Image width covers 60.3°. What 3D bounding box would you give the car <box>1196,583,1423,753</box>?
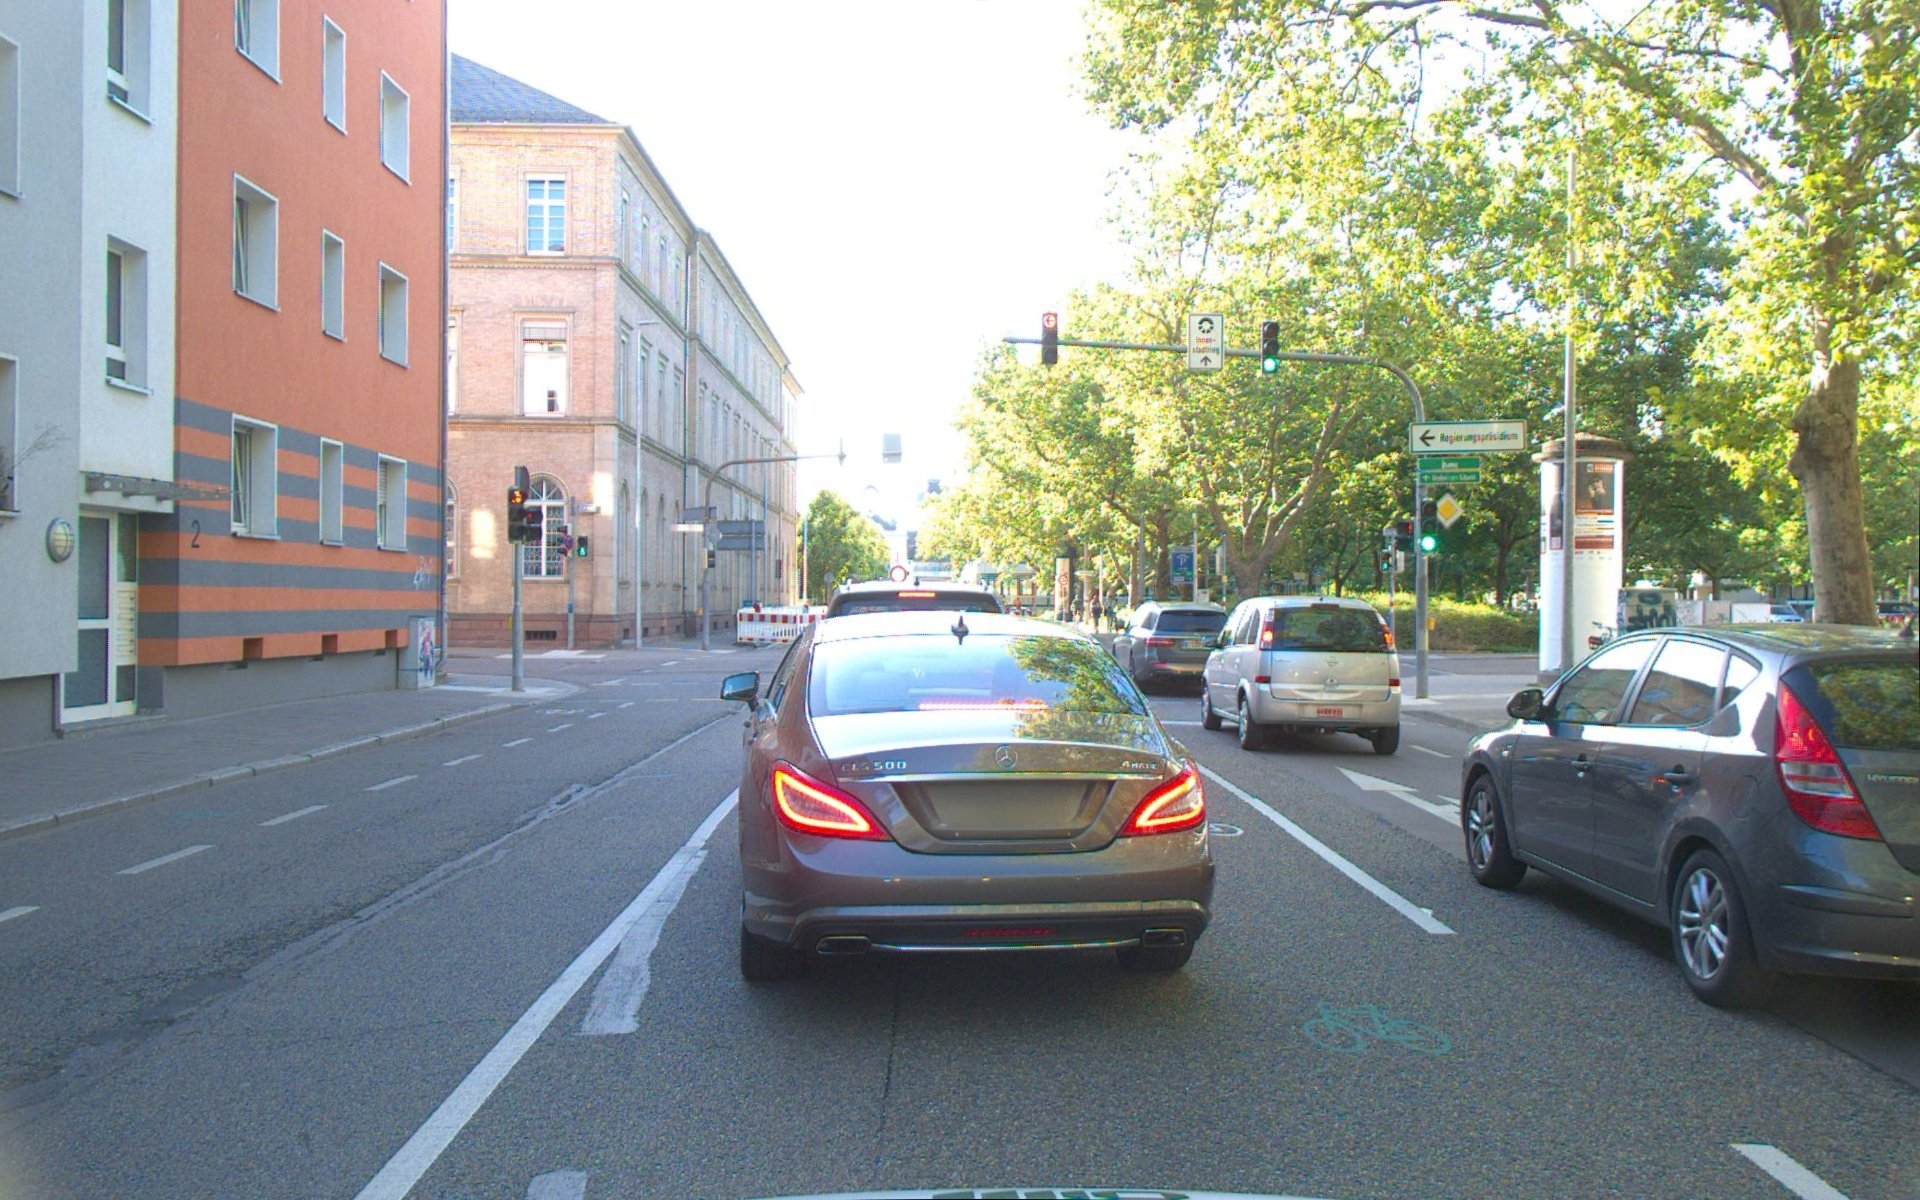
[{"bbox_3d":[3.801,0.692,18.572,1.696,1.691,3.680,1,0,-1],"label":"car"}]

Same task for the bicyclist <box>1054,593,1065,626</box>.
[{"bbox_3d":[6.310,0.605,105.046,0.583,2.075,0.565,1,-1,-5],"label":"bicyclist"}]

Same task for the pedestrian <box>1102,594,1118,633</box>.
[{"bbox_3d":[6.905,0.628,76.114,0.623,1.791,0.698,1,-1,-5],"label":"pedestrian"}]

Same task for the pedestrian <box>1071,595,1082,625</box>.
[{"bbox_3d":[6.146,0.527,87.295,0.545,1.535,0.345,1,-1,-5],"label":"pedestrian"}]

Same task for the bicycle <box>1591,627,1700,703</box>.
[{"bbox_3d":[9.887,0.922,23.817,1.868,1.046,0.633,1,-1,-39],"label":"bicycle"}]

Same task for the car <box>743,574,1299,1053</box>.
[{"bbox_3d":[-0.035,0.689,7.457,1.826,1.545,3.993,1,0,-8],"label":"car"}]

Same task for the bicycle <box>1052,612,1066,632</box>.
[{"bbox_3d":[6.302,1.384,105.077,0.580,1.285,1.804,1,0,-5],"label":"bicycle"}]

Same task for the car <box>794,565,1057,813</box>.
[{"bbox_3d":[-0.271,0.619,13.584,1.823,1.712,3.999,1,0,-1],"label":"car"}]

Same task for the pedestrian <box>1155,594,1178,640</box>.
[{"bbox_3d":[7.226,0.592,57.951,0.623,1.572,0.909,1,0,-5],"label":"pedestrian"}]

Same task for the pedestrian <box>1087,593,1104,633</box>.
[{"bbox_3d":[6.247,0.592,76.150,0.623,1.828,0.698,1,-1,-5],"label":"pedestrian"}]

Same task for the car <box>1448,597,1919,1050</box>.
[{"bbox_3d":[3.727,0.773,7.698,1.670,1.545,3.999,1,0,-1],"label":"car"}]

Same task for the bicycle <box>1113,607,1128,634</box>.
[{"bbox_3d":[7.378,0.949,75.998,0.472,1.223,1.606,1,0,-1],"label":"bicycle"}]

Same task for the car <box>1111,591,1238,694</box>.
[{"bbox_3d":[3.504,0.668,27.523,1.568,1.576,3.680,1,0,-1],"label":"car"}]
